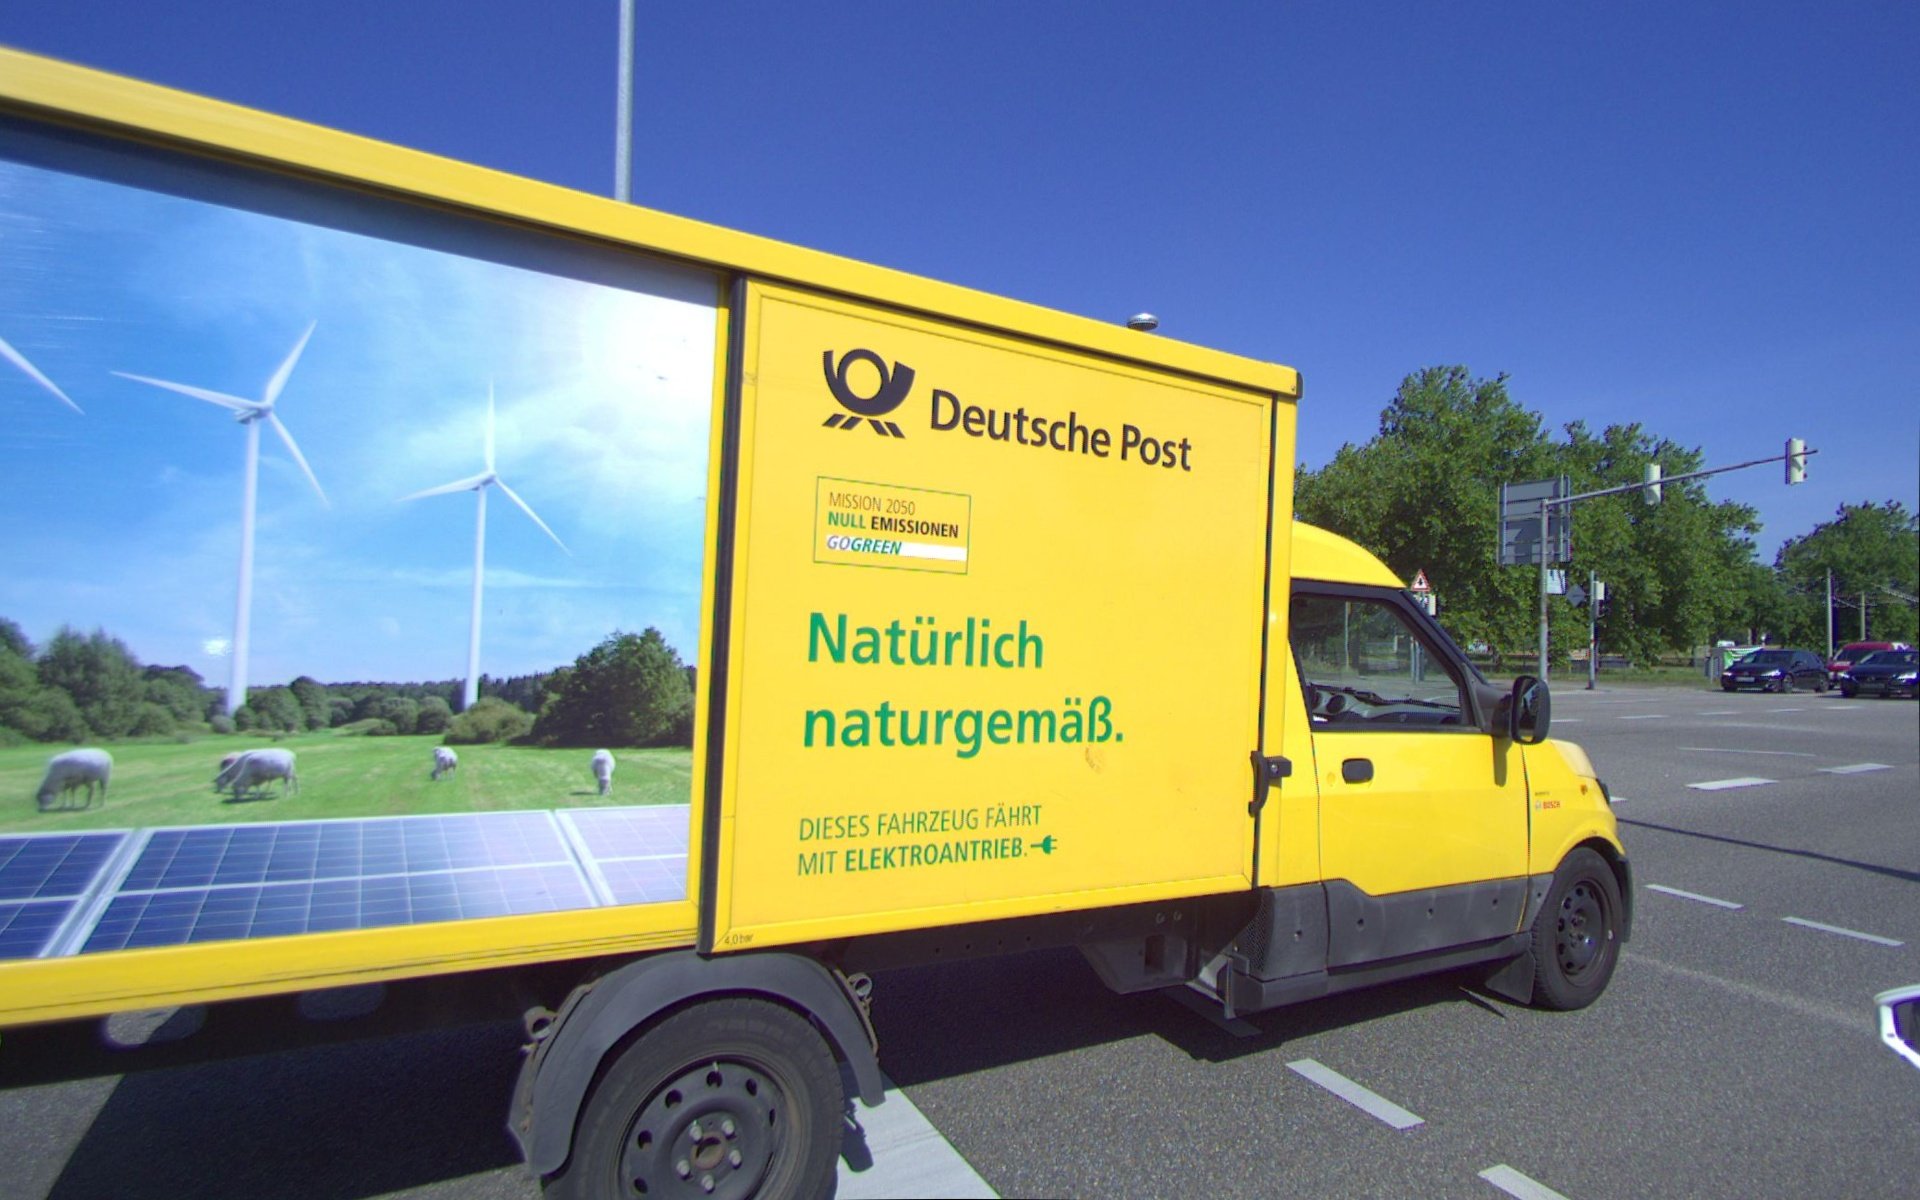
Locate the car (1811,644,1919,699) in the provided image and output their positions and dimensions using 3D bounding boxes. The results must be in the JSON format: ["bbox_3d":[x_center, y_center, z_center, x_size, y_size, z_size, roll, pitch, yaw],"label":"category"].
[{"bbox_3d":[27.103,2.060,29.326,4.277,1.476,1.974,2,-2,-27],"label":"car"}]

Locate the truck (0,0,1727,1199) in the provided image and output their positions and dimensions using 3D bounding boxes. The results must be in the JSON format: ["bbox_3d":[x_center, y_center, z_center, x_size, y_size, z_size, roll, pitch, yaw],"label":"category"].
[{"bbox_3d":[0.033,0.243,3.493,5.847,2.490,2.102,2,-1,-30],"label":"truck"}]

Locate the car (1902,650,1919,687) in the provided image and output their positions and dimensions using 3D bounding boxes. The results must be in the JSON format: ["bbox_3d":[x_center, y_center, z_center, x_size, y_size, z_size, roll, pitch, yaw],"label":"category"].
[{"bbox_3d":[41.930,2.883,41.942,5.544,1.493,1.987,2,-2,-27],"label":"car"}]

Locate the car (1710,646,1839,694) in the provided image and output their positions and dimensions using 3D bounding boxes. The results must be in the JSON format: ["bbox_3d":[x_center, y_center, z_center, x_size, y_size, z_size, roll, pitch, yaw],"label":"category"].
[{"bbox_3d":[27.377,2.340,33.751,4.175,1.476,1.879,2,-2,-27],"label":"car"}]

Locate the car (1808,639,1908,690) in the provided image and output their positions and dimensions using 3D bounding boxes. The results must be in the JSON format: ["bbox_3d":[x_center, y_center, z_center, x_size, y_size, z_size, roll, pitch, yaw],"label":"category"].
[{"bbox_3d":[33.221,2.378,37.139,4.184,1.793,1.695,2,-3,-33],"label":"car"}]
